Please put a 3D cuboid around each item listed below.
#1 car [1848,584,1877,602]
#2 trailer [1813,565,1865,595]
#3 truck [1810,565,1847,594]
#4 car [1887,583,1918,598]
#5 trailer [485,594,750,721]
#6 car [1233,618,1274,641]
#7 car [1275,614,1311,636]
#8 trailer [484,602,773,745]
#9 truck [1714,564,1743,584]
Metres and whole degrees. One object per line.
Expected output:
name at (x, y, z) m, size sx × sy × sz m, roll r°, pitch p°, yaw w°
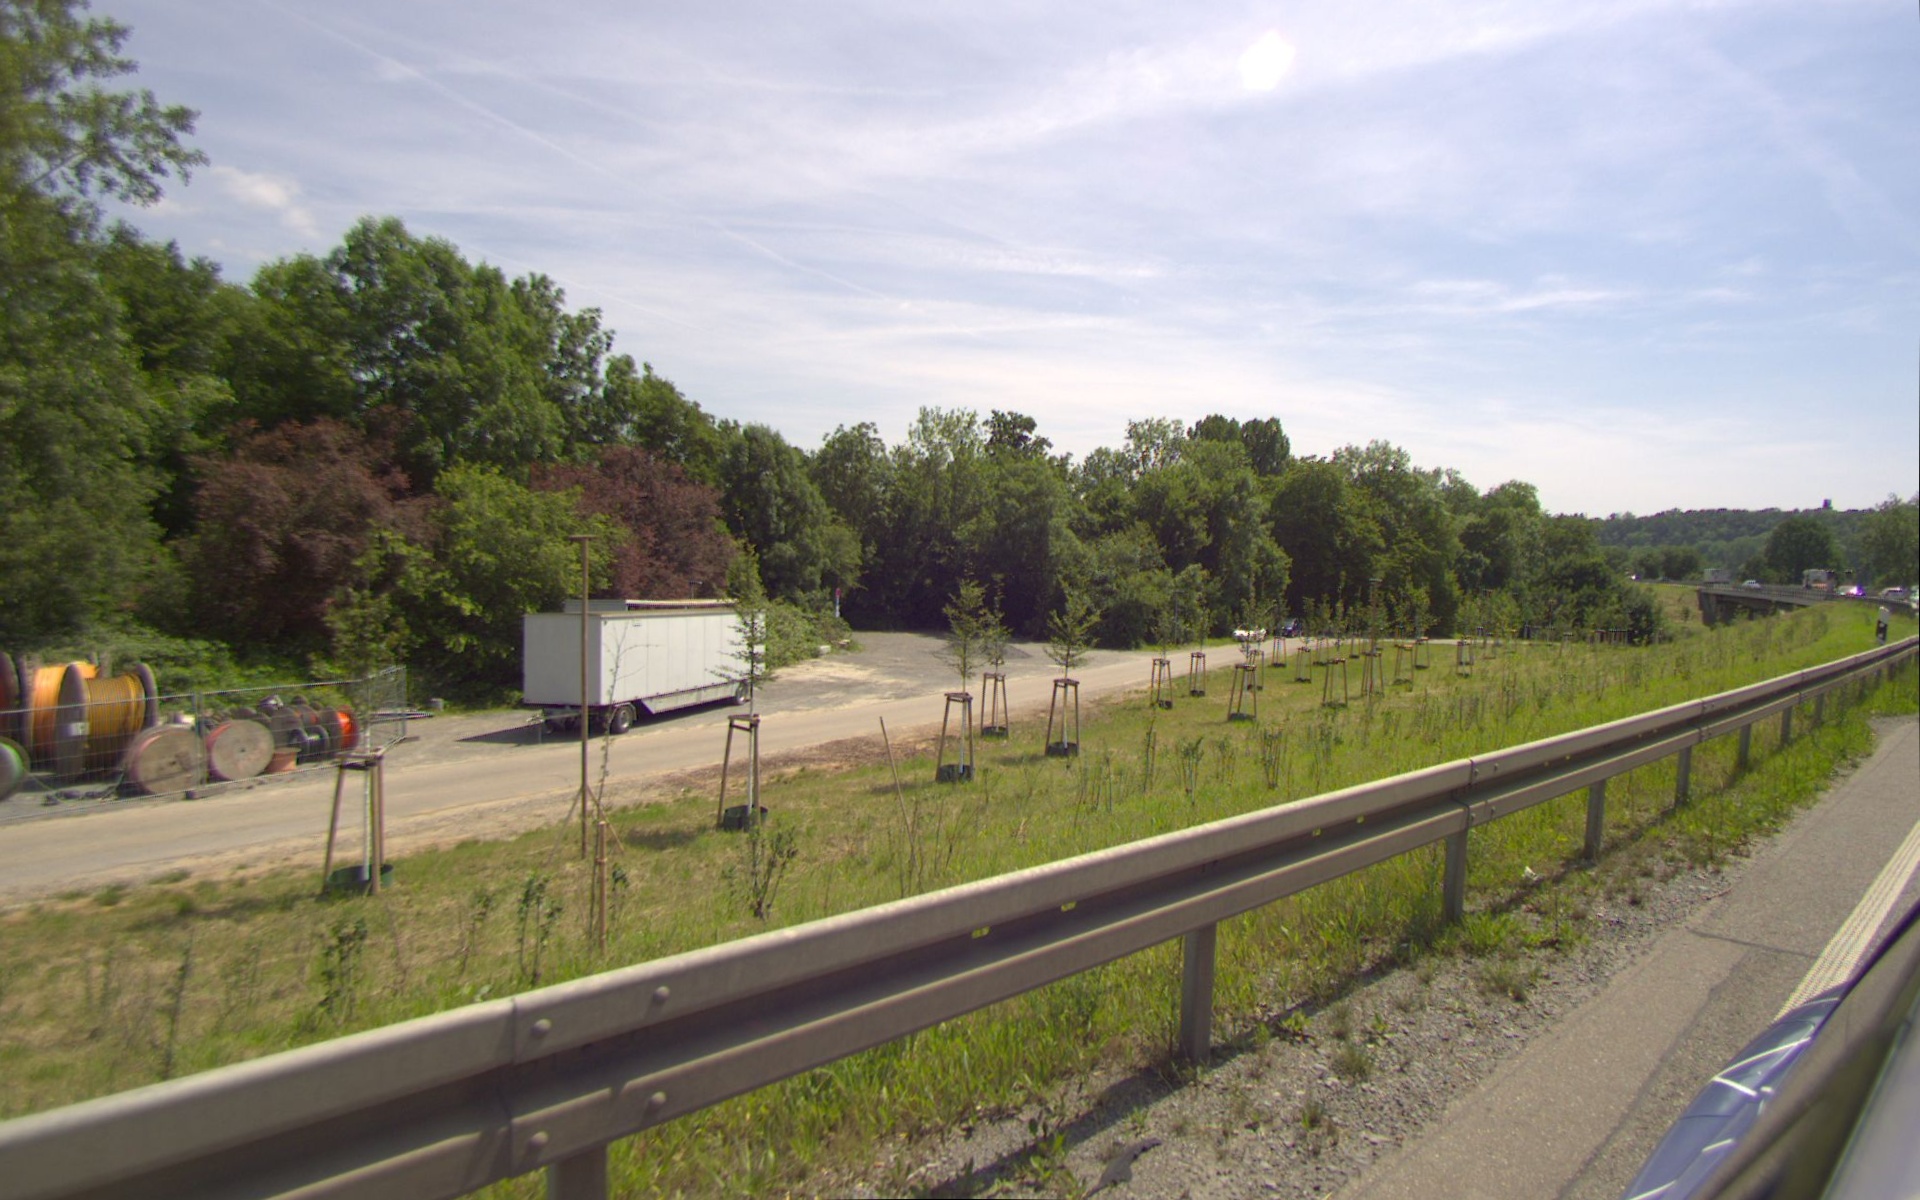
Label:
car at (98.836, -0.805, 110.865) m, size 1.970 × 1.753 × 3.950 m, roll 1°, pitch 3°, yaw 36°
trailer at (121.910, -2.833, 140.562) m, size 3.105 × 4.029 × 15.183 m, roll 1°, pitch 2°, yaw 32°
truck at (125.516, -2.968, 146.342) m, size 3.105 × 4.006 × 6.547 m, roll 1°, pitch 2°, yaw 32°
car at (105.019, -1.079, 112.747) m, size 1.761 × 1.512 × 4.122 m, roll 1°, pitch 2°, yaw 32°
trailer at (-11.521, 1.677, 36.055) m, size 2.689 × 3.652 × 11.834 m, roll 0°, pitch 1°, yaw 16°
car at (23.930, 2.398, 82.384) m, size 1.852 × 1.500 × 4.552 m, roll 6°, pitch 4°, yaw 33°
car at (30.184, 2.221, 91.624) m, size 1.854 × 1.702 × 4.144 m, roll 6°, pitch 3°, yaw 36°
trailer at (-9.601, 1.858, 31.650) m, size 2.688 × 3.369 × 11.843 m, roll 1°, pitch 1°, yaw 14°
truck at (154.683, -5.254, 203.809) m, size 2.895 × 3.851 × 9.619 m, roll 1°, pitch 1°, yaw 26°
